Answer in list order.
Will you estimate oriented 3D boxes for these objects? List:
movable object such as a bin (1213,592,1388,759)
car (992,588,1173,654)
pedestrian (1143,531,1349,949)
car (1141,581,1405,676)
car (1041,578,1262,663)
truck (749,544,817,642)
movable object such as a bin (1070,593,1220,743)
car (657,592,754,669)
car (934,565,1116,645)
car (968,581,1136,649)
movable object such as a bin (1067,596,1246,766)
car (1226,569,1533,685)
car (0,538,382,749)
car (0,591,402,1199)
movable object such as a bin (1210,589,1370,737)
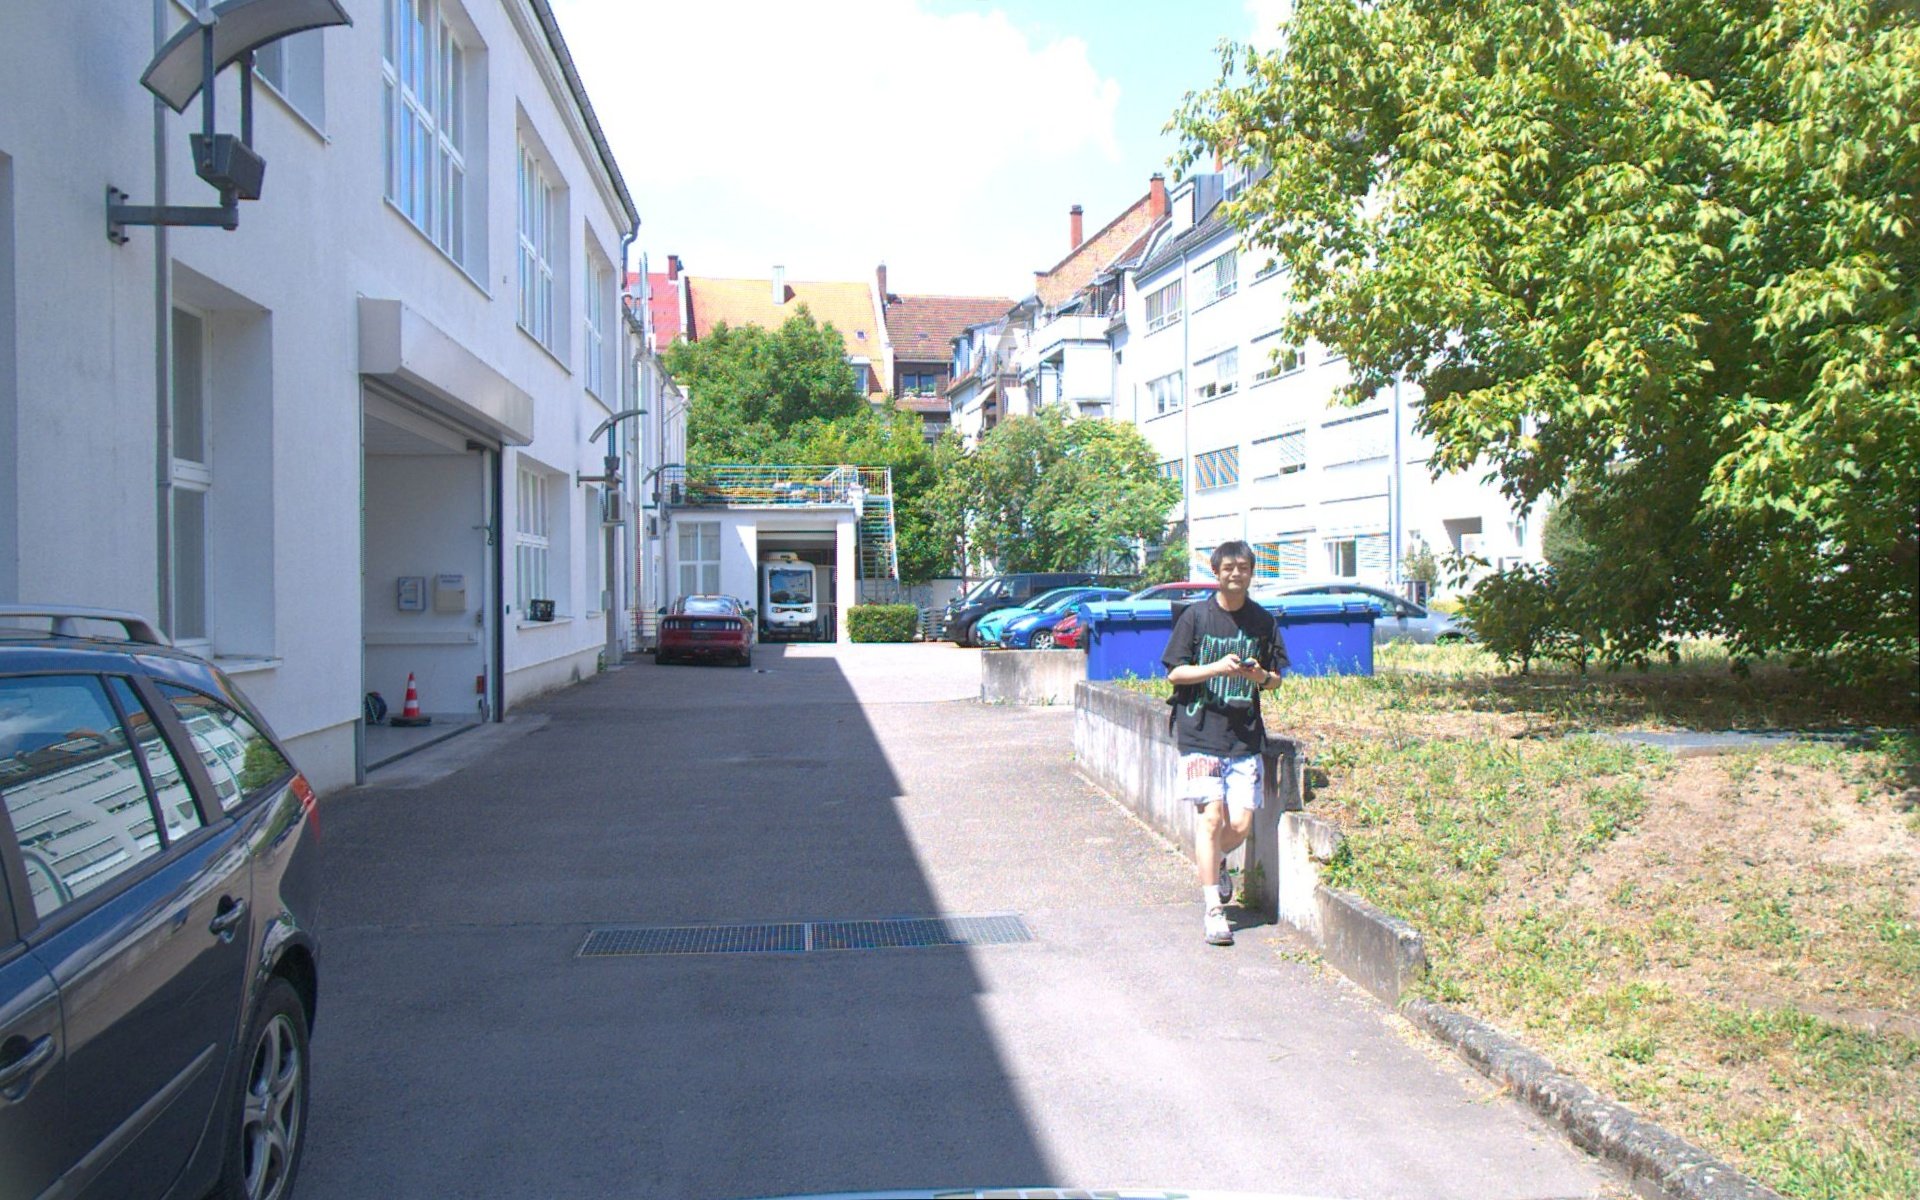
[{"bbox_3d":[2.910,0.620,14.273,1.192,1.350,1.160,-1,0,-4],"label":"movable object such as a bin"},{"bbox_3d":[2.828,0.466,38.559,3.912,1.414,1.801,-1,1,-8],"label":"car"},{"bbox_3d":[1.275,0.597,7.493,0.742,1.786,0.751,-1,0,-5],"label":"pedestrian"},{"bbox_3d":[5.124,0.442,27.326,3.912,1.414,1.801,-1,1,-8],"label":"car"},{"bbox_3d":[3.661,0.368,31.978,3.912,1.504,1.801,-1,1,-8],"label":"car"},{"bbox_3d":[-5.701,-0.225,52.761,1.756,2.988,4.641,-1,0,-11],"label":"truck"},{"bbox_3d":[1.753,0.627,15.888,1.170,1.350,1.158,-1,0,-8],"label":"movable object such as a bin"},{"bbox_3d":[-5.108,0.565,33.609,1.764,1.414,3.994,-1,1,-7],"label":"car"},{"bbox_3d":[1.719,0.111,44.486,4.590,1.992,2.073,-1,0,-8],"label":"car"},{"bbox_3d":[2.274,0.357,41.493,3.912,1.561,1.801,-1,1,-8],"label":"car"},{"bbox_3d":[1.649,0.660,14.113,1.312,1.350,1.160,-1,0,-4],"label":"movable object such as a bin"},{"bbox_3d":[6.000,0.355,23.891,3.912,1.504,1.801,-1,1,-8],"label":"car"},{"bbox_3d":[-8.535,0.415,17.219,4.392,2.060,1.978,0,0,-6],"label":"car"},{"bbox_3d":[-2.236,0.742,2.444,1.721,1.455,4.381,-1,1,-6],"label":"car"},{"bbox_3d":[3.174,0.583,16.026,1.193,1.350,1.158,-1,0,-8],"label":"movable object such as a bin"}]
